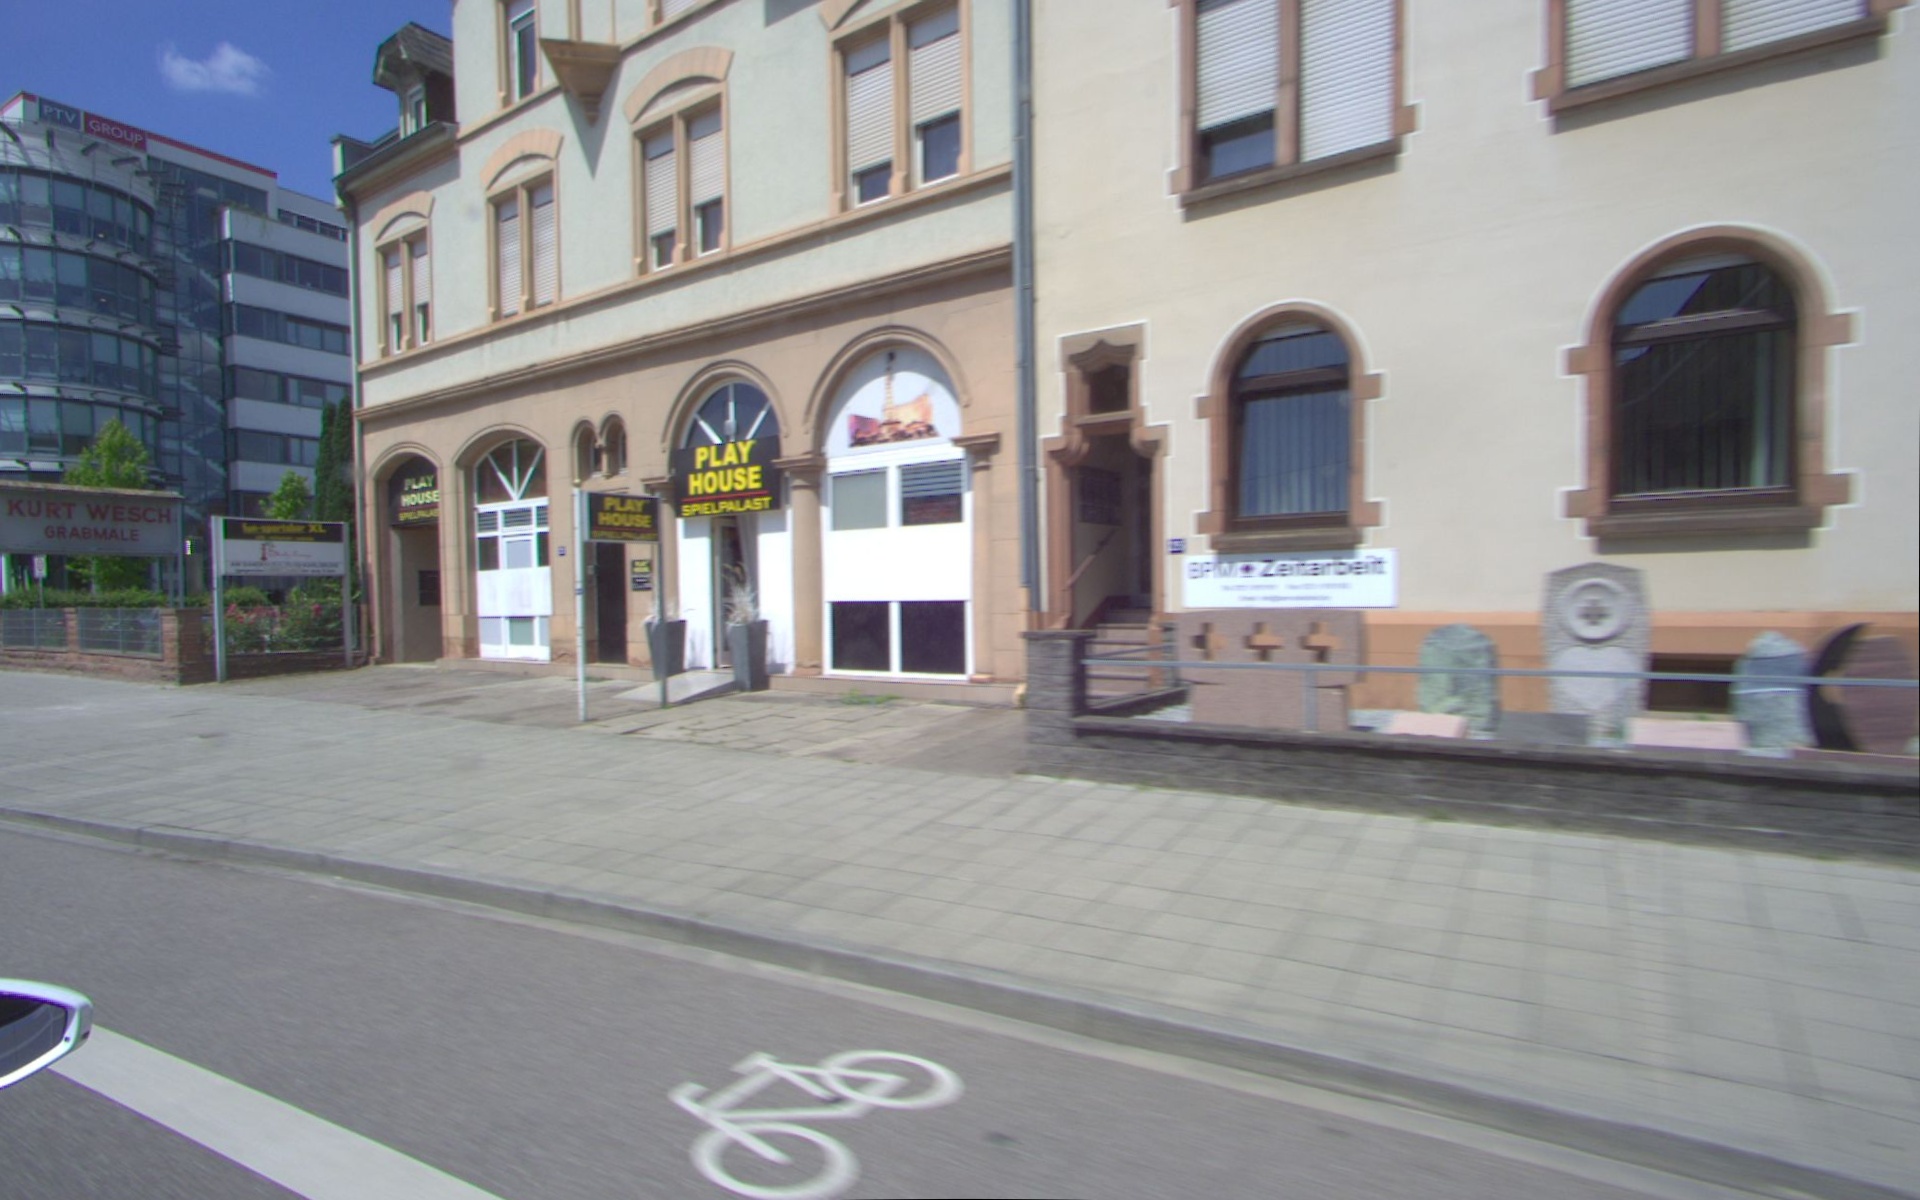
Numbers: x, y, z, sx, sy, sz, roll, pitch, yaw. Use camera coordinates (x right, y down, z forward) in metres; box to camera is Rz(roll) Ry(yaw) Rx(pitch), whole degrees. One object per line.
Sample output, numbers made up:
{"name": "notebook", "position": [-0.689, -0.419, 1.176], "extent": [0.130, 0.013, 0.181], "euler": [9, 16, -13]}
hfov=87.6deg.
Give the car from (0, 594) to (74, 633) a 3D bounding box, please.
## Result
{"name": "car", "position": [-33.991, 0.487, 35.314], "extent": [1.533, 1.292, 3.789], "euler": [0, 2, 32]}
